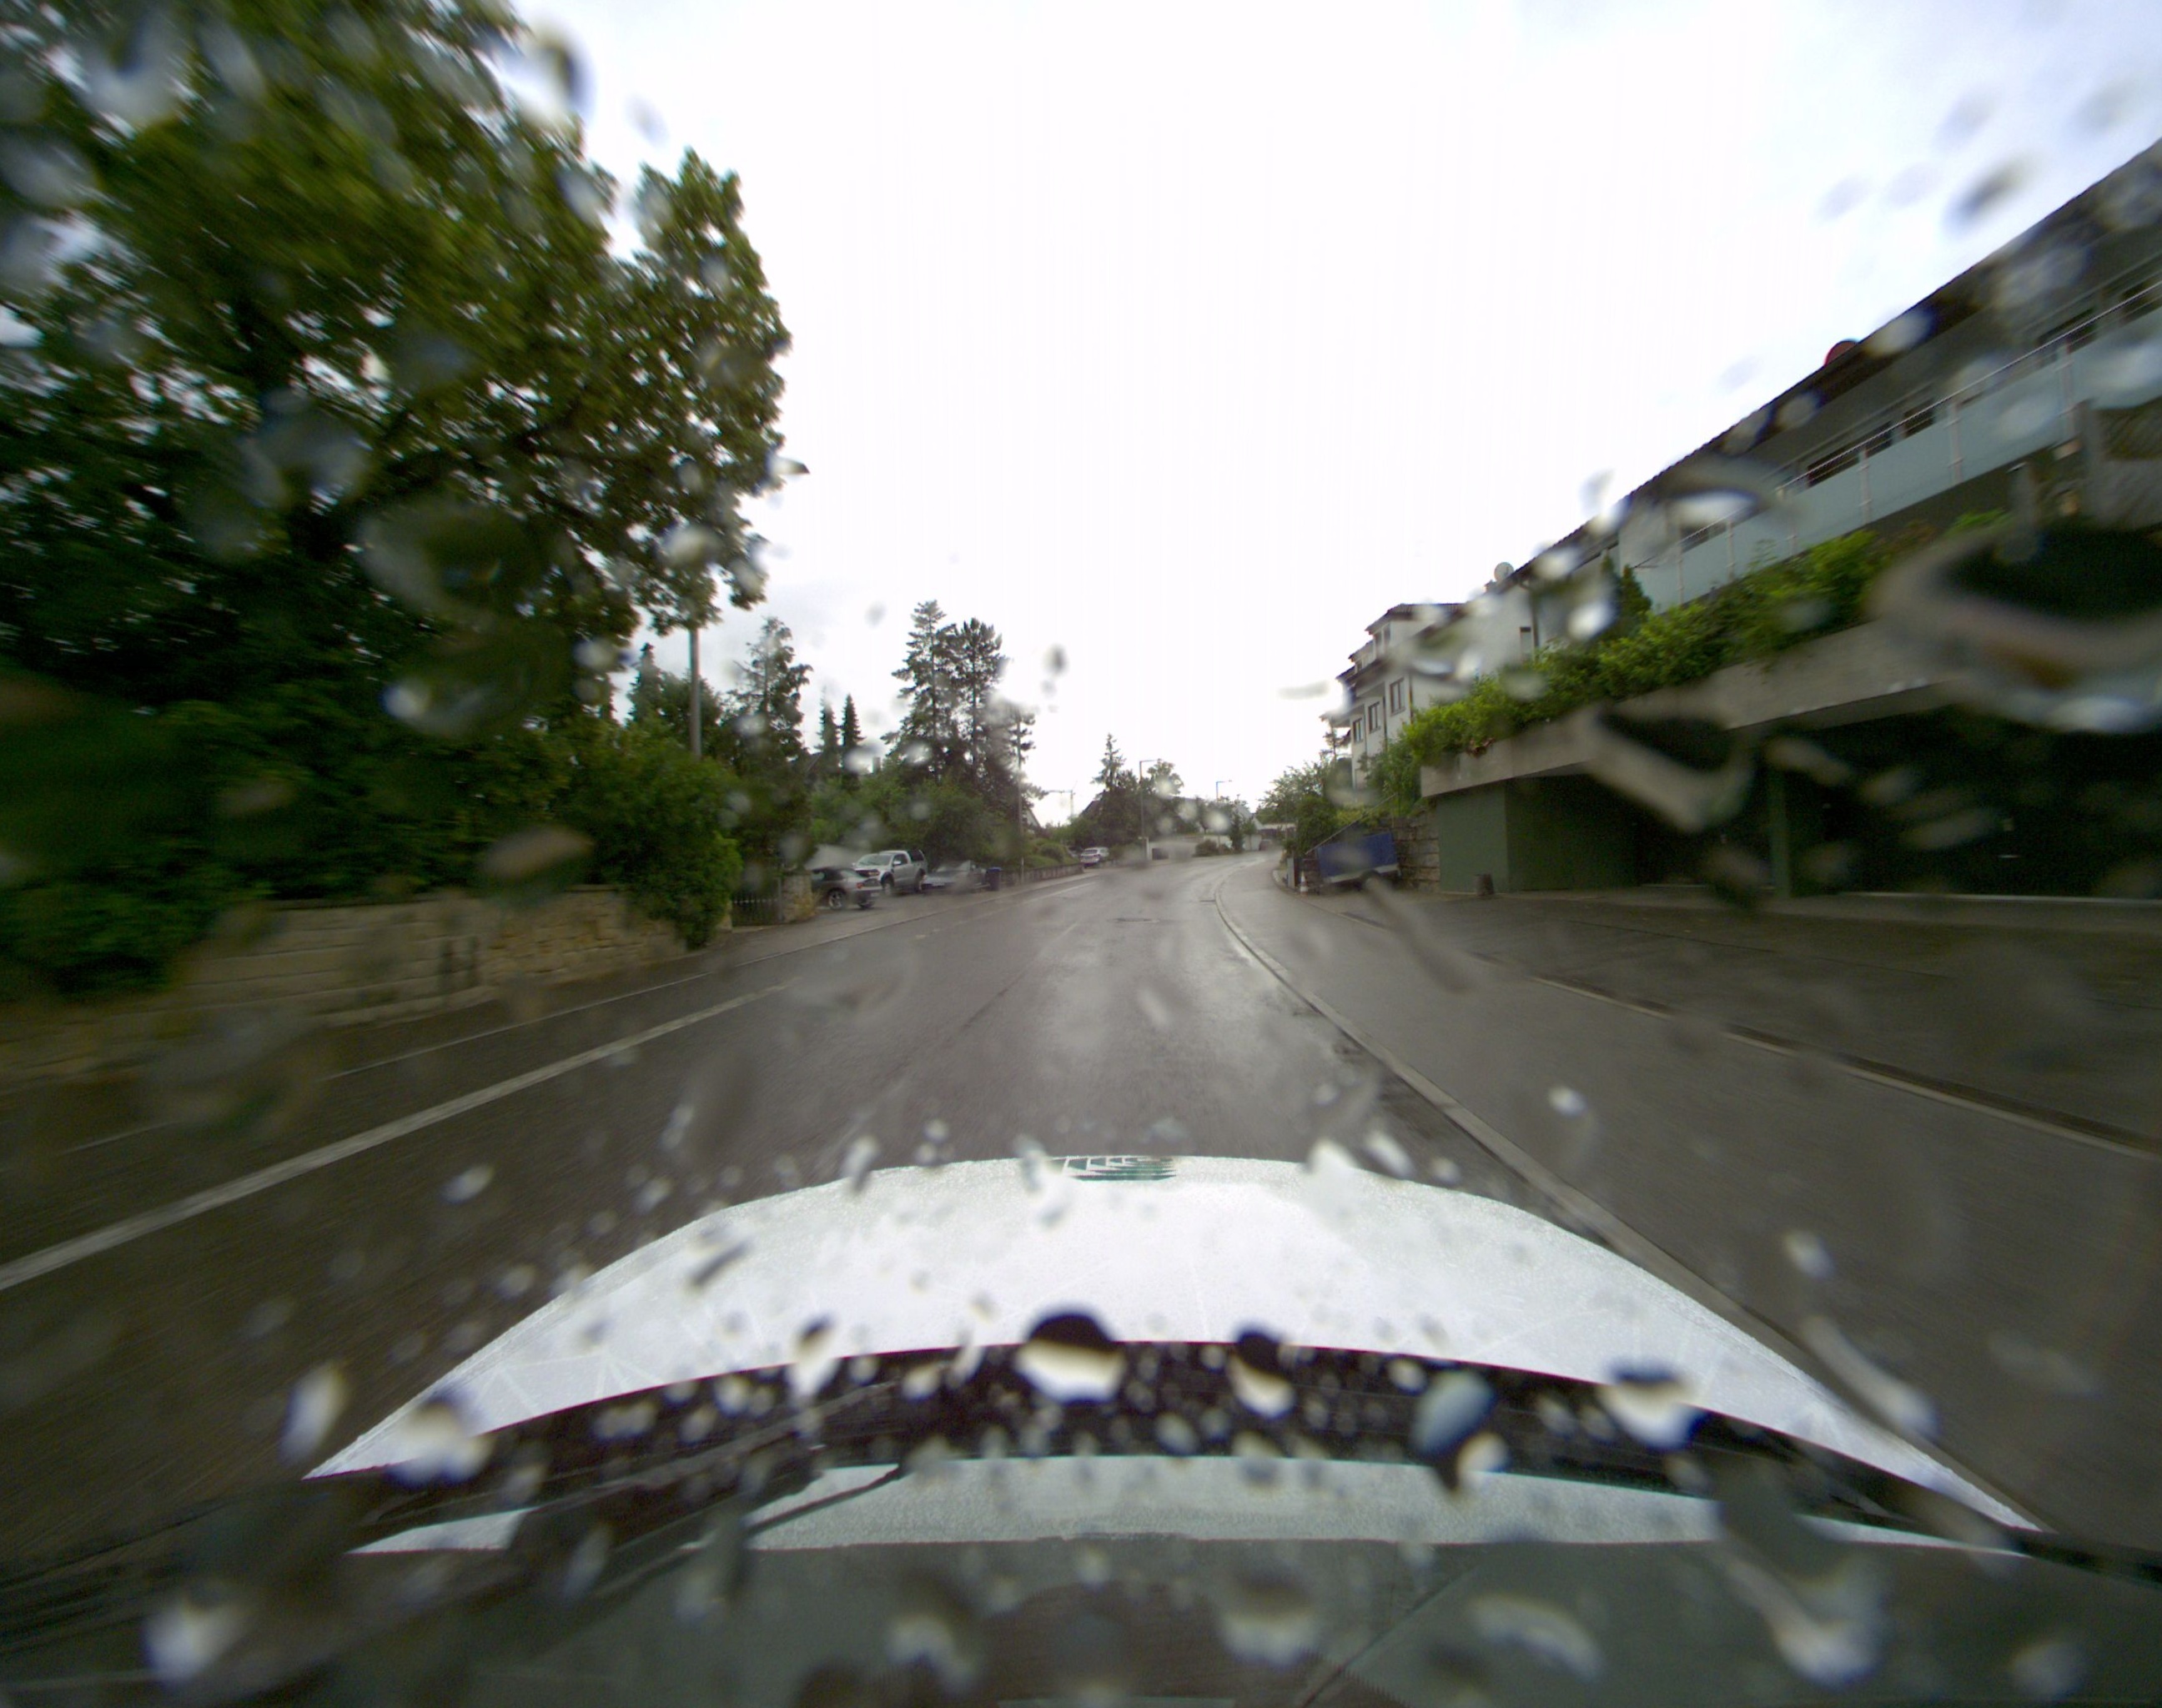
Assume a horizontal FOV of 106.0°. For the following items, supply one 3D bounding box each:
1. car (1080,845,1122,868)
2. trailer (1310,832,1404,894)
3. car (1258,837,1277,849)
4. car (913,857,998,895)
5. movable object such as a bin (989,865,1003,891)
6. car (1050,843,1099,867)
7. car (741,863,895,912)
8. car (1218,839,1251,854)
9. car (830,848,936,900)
[{"bbox_3d":[1.578,0.153,61.444,1.719,1.551,4.022,-3,0,23],"label":"car"},{"bbox_3d":[8.424,0.262,25.052,2.341,1.748,2.004,-2,0,7],"label":"trailer"},{"bbox_3d":[25.286,-1.486,110.373,1.818,1.405,4.283,-2,1,21],"label":"car"},{"bbox_3d":[-5.017,0.854,33.180,1.981,1.307,4.447,-3,0,11],"label":"car"},{"bbox_3d":[-3.385,0.960,32.515,0.368,0.988,0.560,-3,0,8],"label":"movable object such as a bin"},{"bbox_3d":[-0.597,0.074,68.096,2.010,1.837,3.953,-3,0,-39],"label":"car"},{"bbox_3d":[-7.839,1.004,24.394,3.958,1.271,1.881,-2,0,14],"label":"car"},{"bbox_3d":[18.445,-0.923,97.863,1.689,1.553,4.415,-2,1,44],"label":"car"},{"bbox_3d":[-7.902,0.738,33.193,1.981,1.843,5.495,-2,0,11],"label":"car"}]
